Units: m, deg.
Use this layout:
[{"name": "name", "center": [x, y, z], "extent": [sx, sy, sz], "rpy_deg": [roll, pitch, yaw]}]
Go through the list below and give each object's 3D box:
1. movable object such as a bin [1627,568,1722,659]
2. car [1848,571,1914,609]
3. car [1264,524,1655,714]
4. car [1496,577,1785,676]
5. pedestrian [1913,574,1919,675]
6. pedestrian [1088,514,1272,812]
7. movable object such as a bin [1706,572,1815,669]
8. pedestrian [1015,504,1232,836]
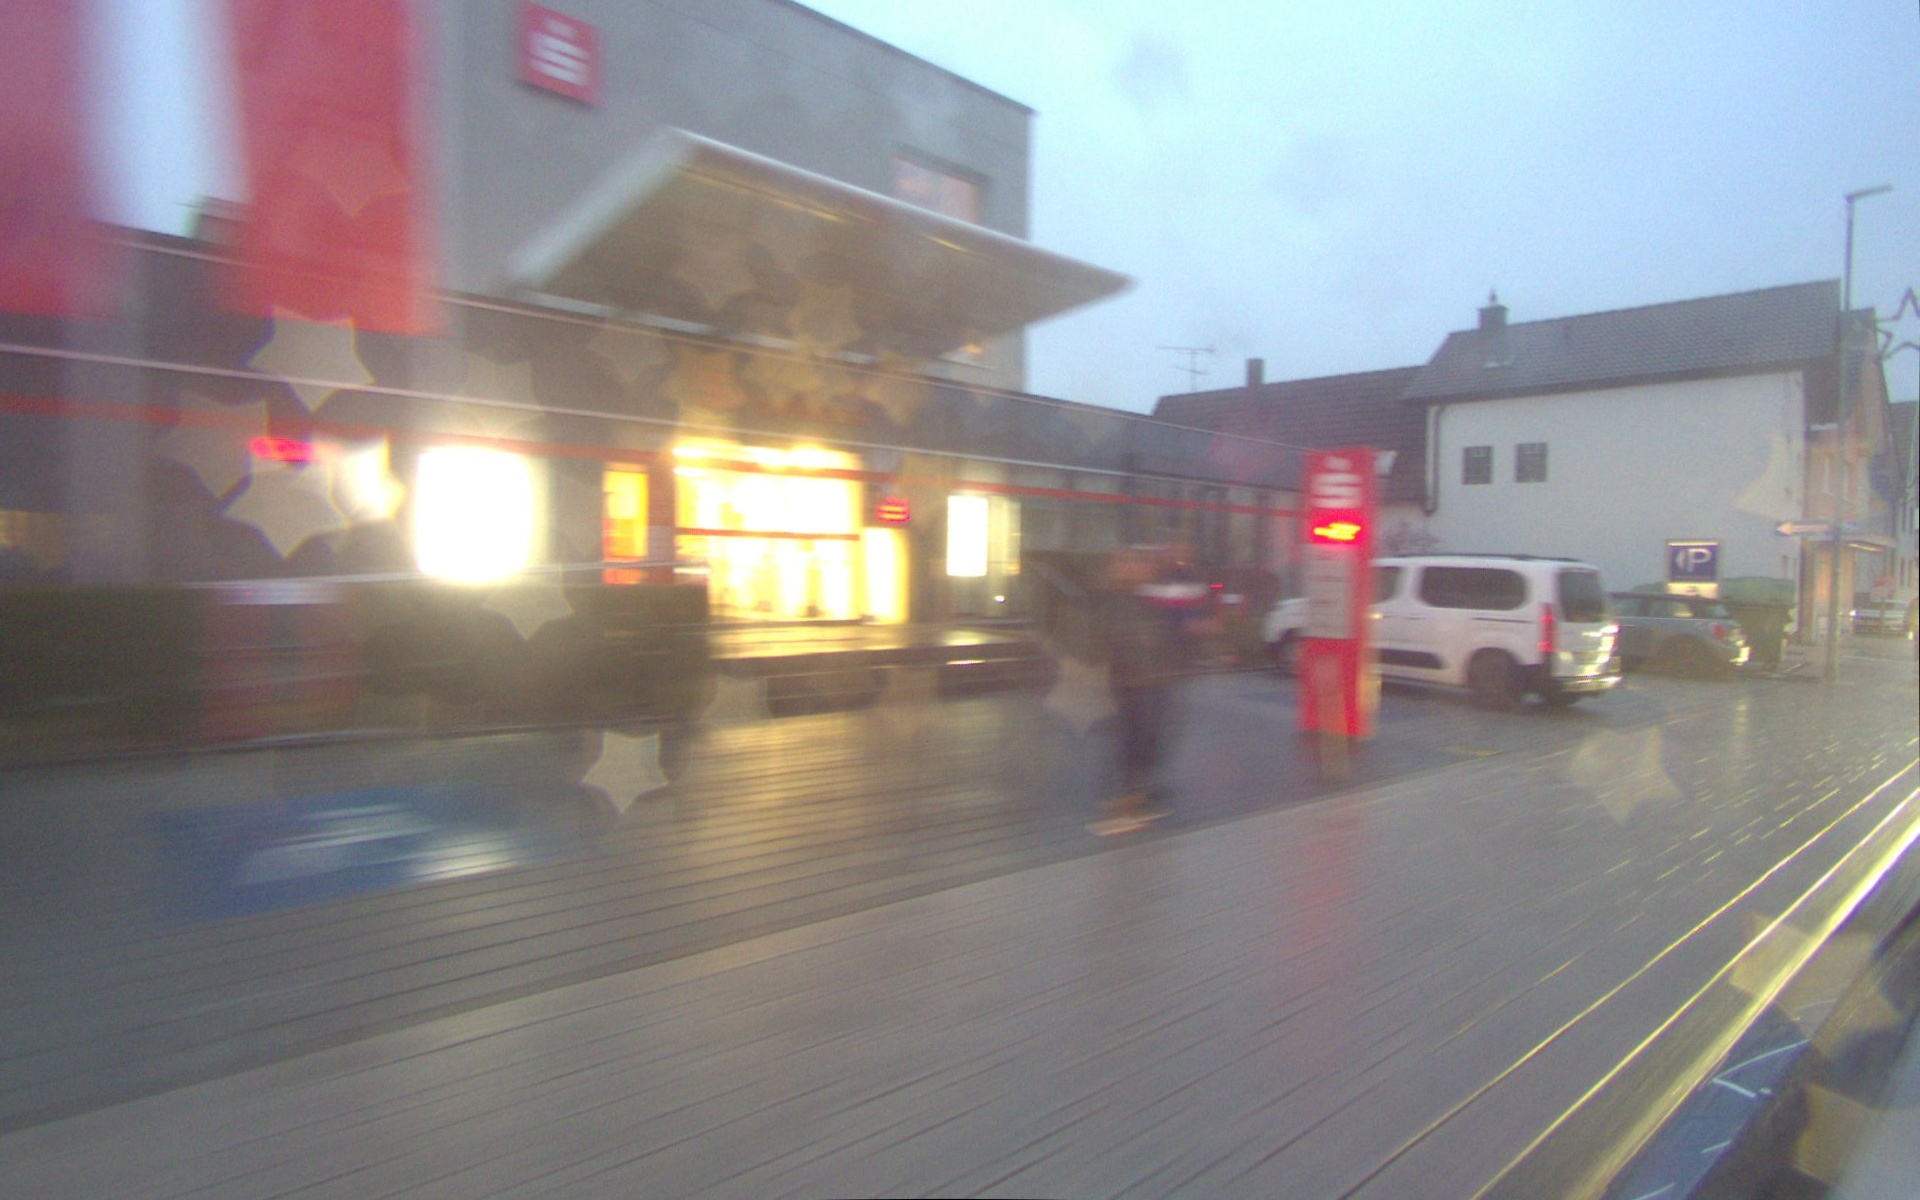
[{"name": "movable object such as a bin", "center": [14.200, 0.246, 20.121], "extent": [1.166, 1.664, 1.287], "rpy_deg": [1, 3, -45]}, {"name": "car", "center": [39.211, -0.435, 43.054], "extent": [1.930, 1.504, 4.622], "rpy_deg": [0, 1, 44]}, {"name": "car", "center": [6.332, 0.095, 13.299], "extent": [1.961, 2.074, 4.108], "rpy_deg": [1, 3, -33]}, {"name": "car", "center": [12.305, 0.385, 18.500], "extent": [1.878, 1.504, 3.997], "rpy_deg": [-1, 3, -39]}, {"name": "pedestrian", "center": [18.797, 0.457, 19.226], "extent": [0.989, 1.913, 0.967], "rpy_deg": [0, 0, -45]}, {"name": "pedestrian", "center": [1.395, 0.344, 6.402], "extent": [0.900, 1.726, 0.704], "rpy_deg": [0, 3, -45]}, {"name": "movable object such as a bin", "center": [15.082, 0.356, 19.080], "extent": [1.241, 1.664, 1.394], "rpy_deg": [1, 3, -45]}, {"name": "pedestrian", "center": [0.920, 0.347, 5.817], "extent": [0.828, 1.726, 0.840], "rpy_deg": [1, 2, -31]}]
